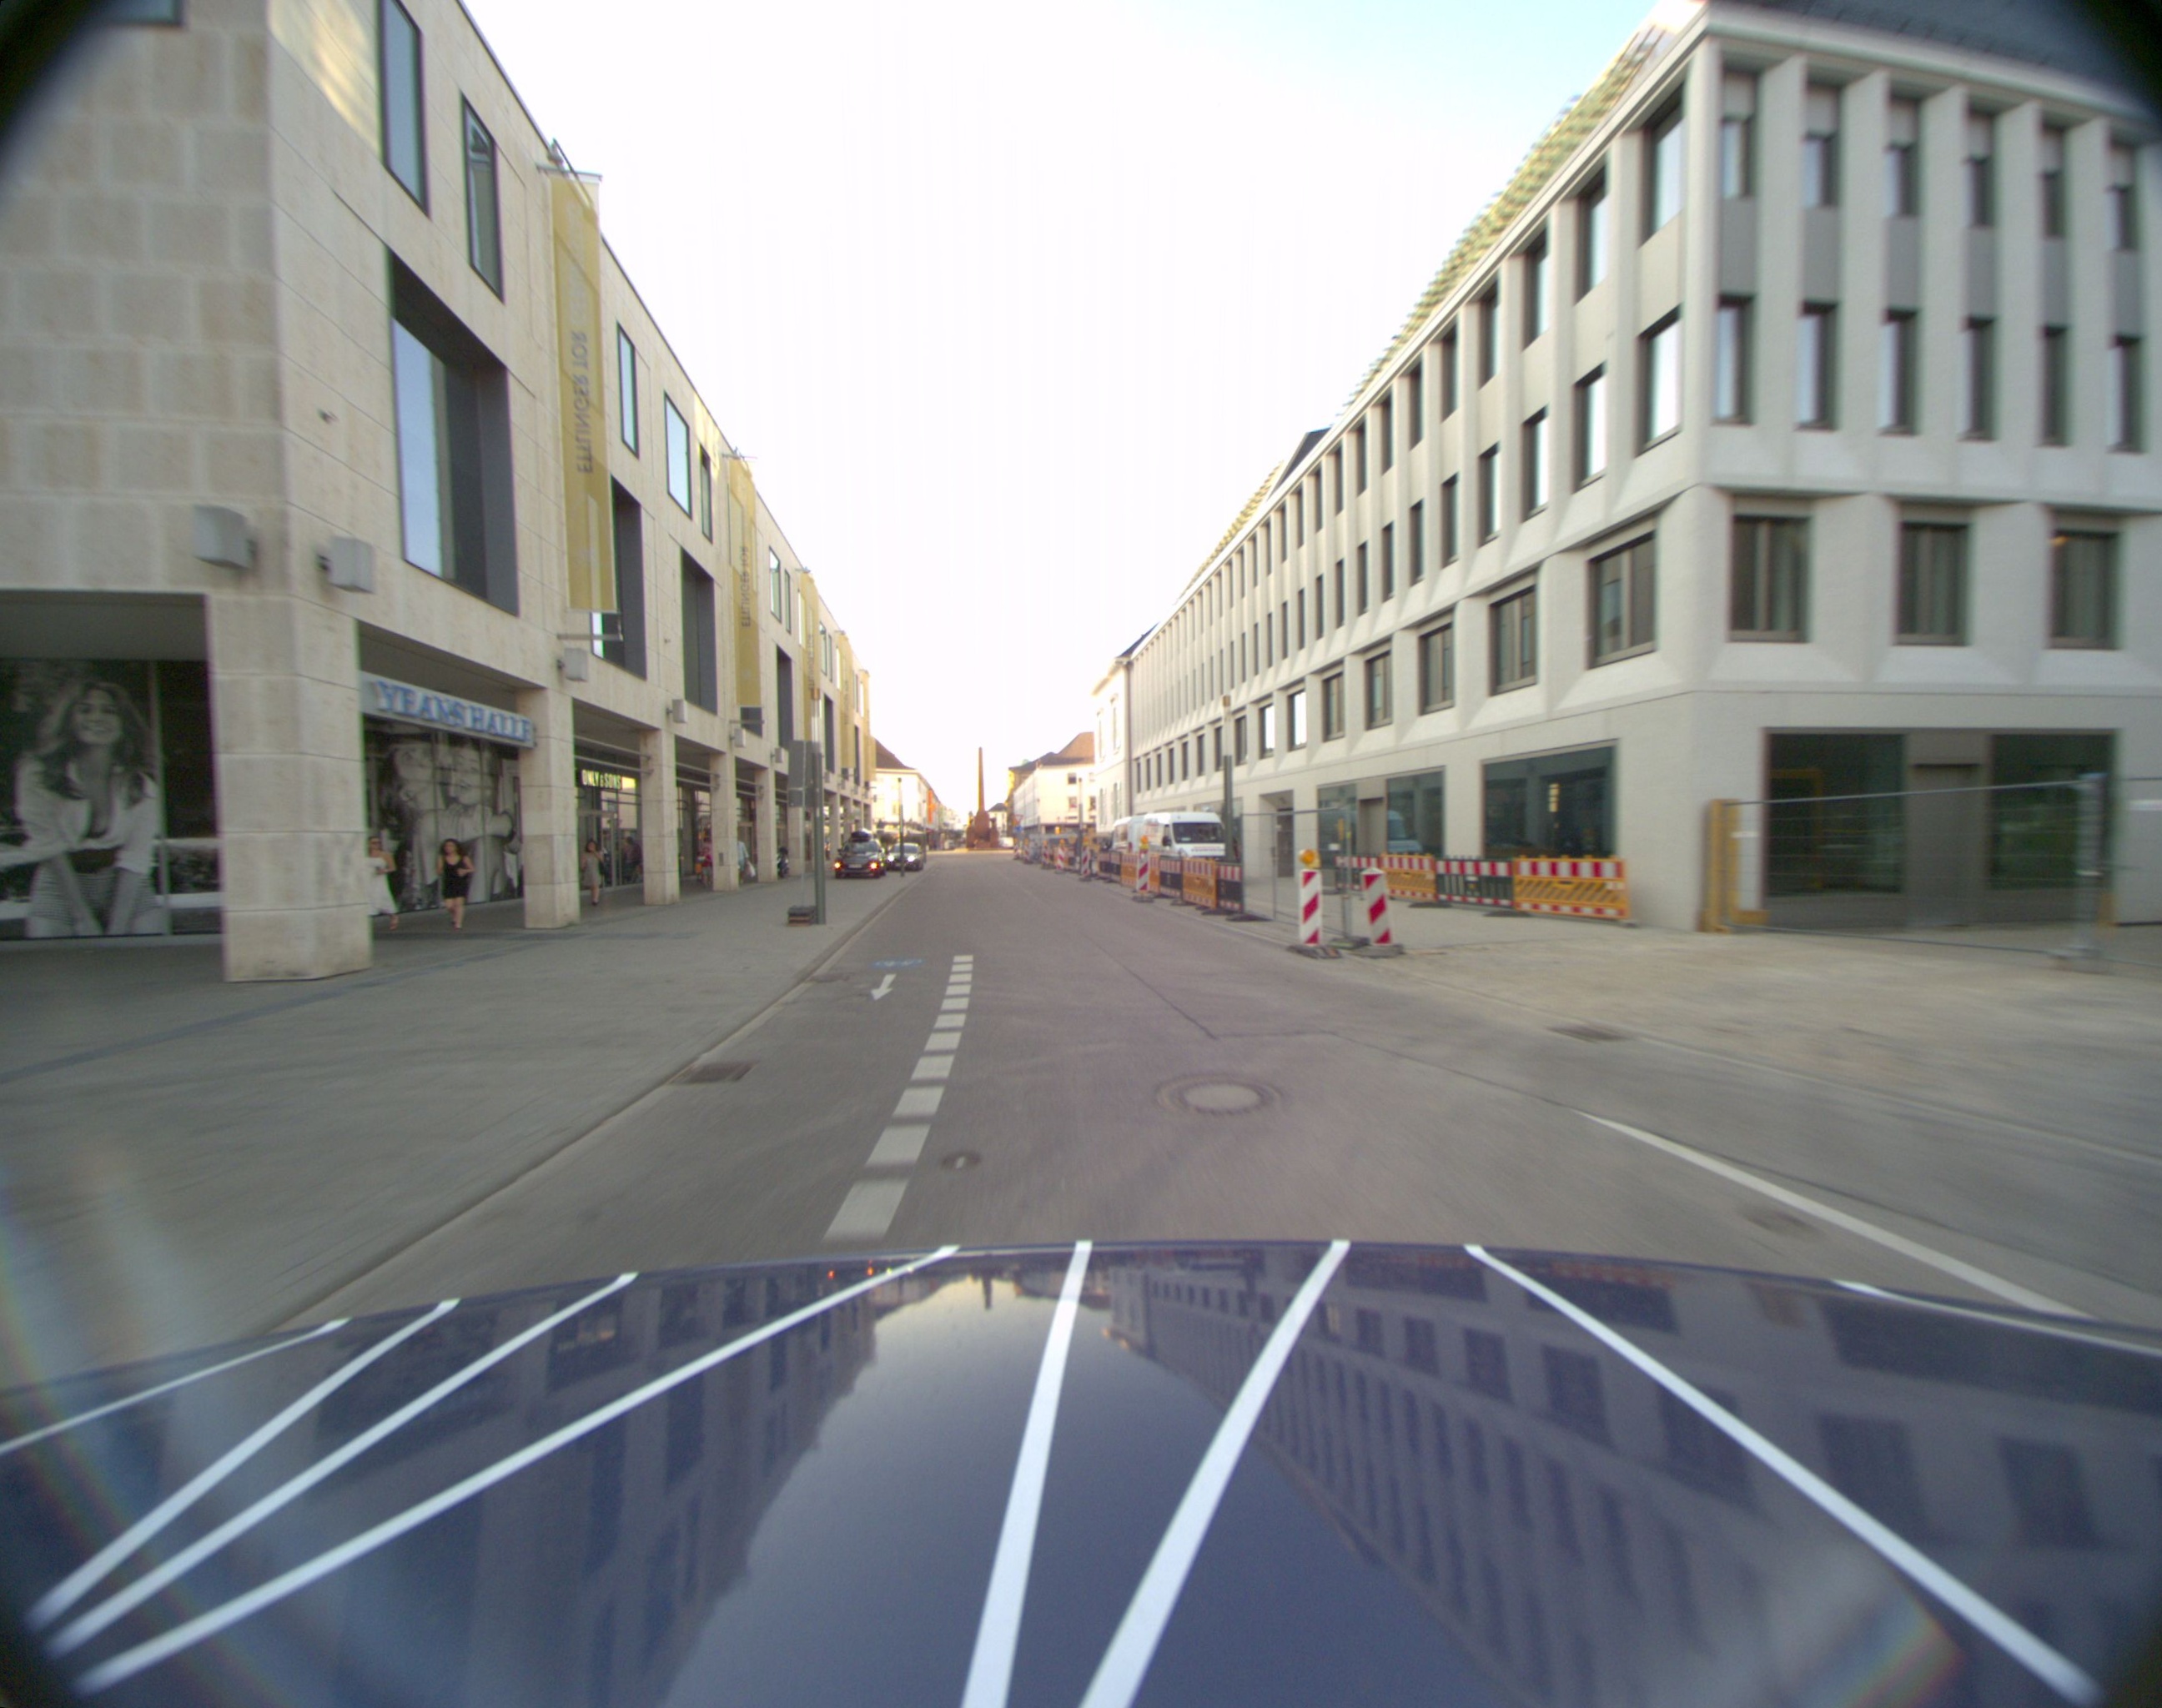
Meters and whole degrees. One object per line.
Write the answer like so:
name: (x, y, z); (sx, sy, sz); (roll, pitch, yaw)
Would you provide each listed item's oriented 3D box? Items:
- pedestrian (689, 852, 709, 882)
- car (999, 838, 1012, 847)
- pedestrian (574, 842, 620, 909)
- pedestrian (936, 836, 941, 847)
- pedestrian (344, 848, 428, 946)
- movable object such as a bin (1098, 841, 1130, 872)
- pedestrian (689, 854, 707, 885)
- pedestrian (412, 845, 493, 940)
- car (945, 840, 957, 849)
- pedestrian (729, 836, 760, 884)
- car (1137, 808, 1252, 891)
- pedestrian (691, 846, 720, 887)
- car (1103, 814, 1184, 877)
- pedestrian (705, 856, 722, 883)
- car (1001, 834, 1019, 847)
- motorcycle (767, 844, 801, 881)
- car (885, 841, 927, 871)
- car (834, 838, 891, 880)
pedestrian: (-14.345, 0.482, 28.515); (0.488, 1.091, 0.601); (-1, 0, -9)
car: (-12.054, -1.856, 120.761); (1.782, 1.416, 3.956); (-1, 2, -10)
pedestrian: (-11.543, 0.496, 18.153); (0.636, 1.558, 0.774); (-1, 0, -9)
pedestrian: (-21.729, -1.882, 115.628); (0.604, 1.691, 0.712); (-2, 2, -14)
pedestrian: (-11.450, 0.689, 12.539); (0.636, 1.534, 0.774); (-2, 2, -9)
movable object such as a bin: (1.615, 0.113, 37.377); (1.047, 1.458, 1.391); (-2, 2, -20)
pedestrian: (-14.079, 0.567, 27.914); (0.421, 1.091, 0.525); (-1, 0, -9)
pedestrian: (-10.633, 0.630, 12.888); (0.726, 1.533, 0.728); (-2, 2, -9)
car: (-20.811, -1.561, 121.841); (1.782, 1.416, 3.956); (-1, 2, -9)
pedestrian: (-11.960, 0.218, 27.019); (0.767, 1.671, 0.876); (-1, 0, -9)
car: (3.690, -0.223, 25.987); (2.180, 2.456, 5.992); (-1, 2, -9)
pedestrian: (-12.533, 0.421, 25.364); (0.636, 1.338, 0.774); (-1, 0, -9)
car: (2.599, -0.405, 33.350); (2.180, 2.456, 5.993); (-1, 2, -8)
pedestrian: (-13.872, 0.588, 28.669); (0.421, 0.980, 0.525); (-1, 0, -9)
car: (-10.855, -2.032, 115.560); (2.023, 1.815, 4.453); (-2, 2, -15)
motorcycle: (-11.913, 0.303, 30.559); (0.695, 1.408, 2.134); (-1, 2, -6)
car: (-9.463, 0.076, 41.341); (1.801, 1.482, 4.188); (2, 1, -8)
car: (-9.332, 0.147, 32.742); (1.774, 1.628, 4.053); (2, 1, -8)
